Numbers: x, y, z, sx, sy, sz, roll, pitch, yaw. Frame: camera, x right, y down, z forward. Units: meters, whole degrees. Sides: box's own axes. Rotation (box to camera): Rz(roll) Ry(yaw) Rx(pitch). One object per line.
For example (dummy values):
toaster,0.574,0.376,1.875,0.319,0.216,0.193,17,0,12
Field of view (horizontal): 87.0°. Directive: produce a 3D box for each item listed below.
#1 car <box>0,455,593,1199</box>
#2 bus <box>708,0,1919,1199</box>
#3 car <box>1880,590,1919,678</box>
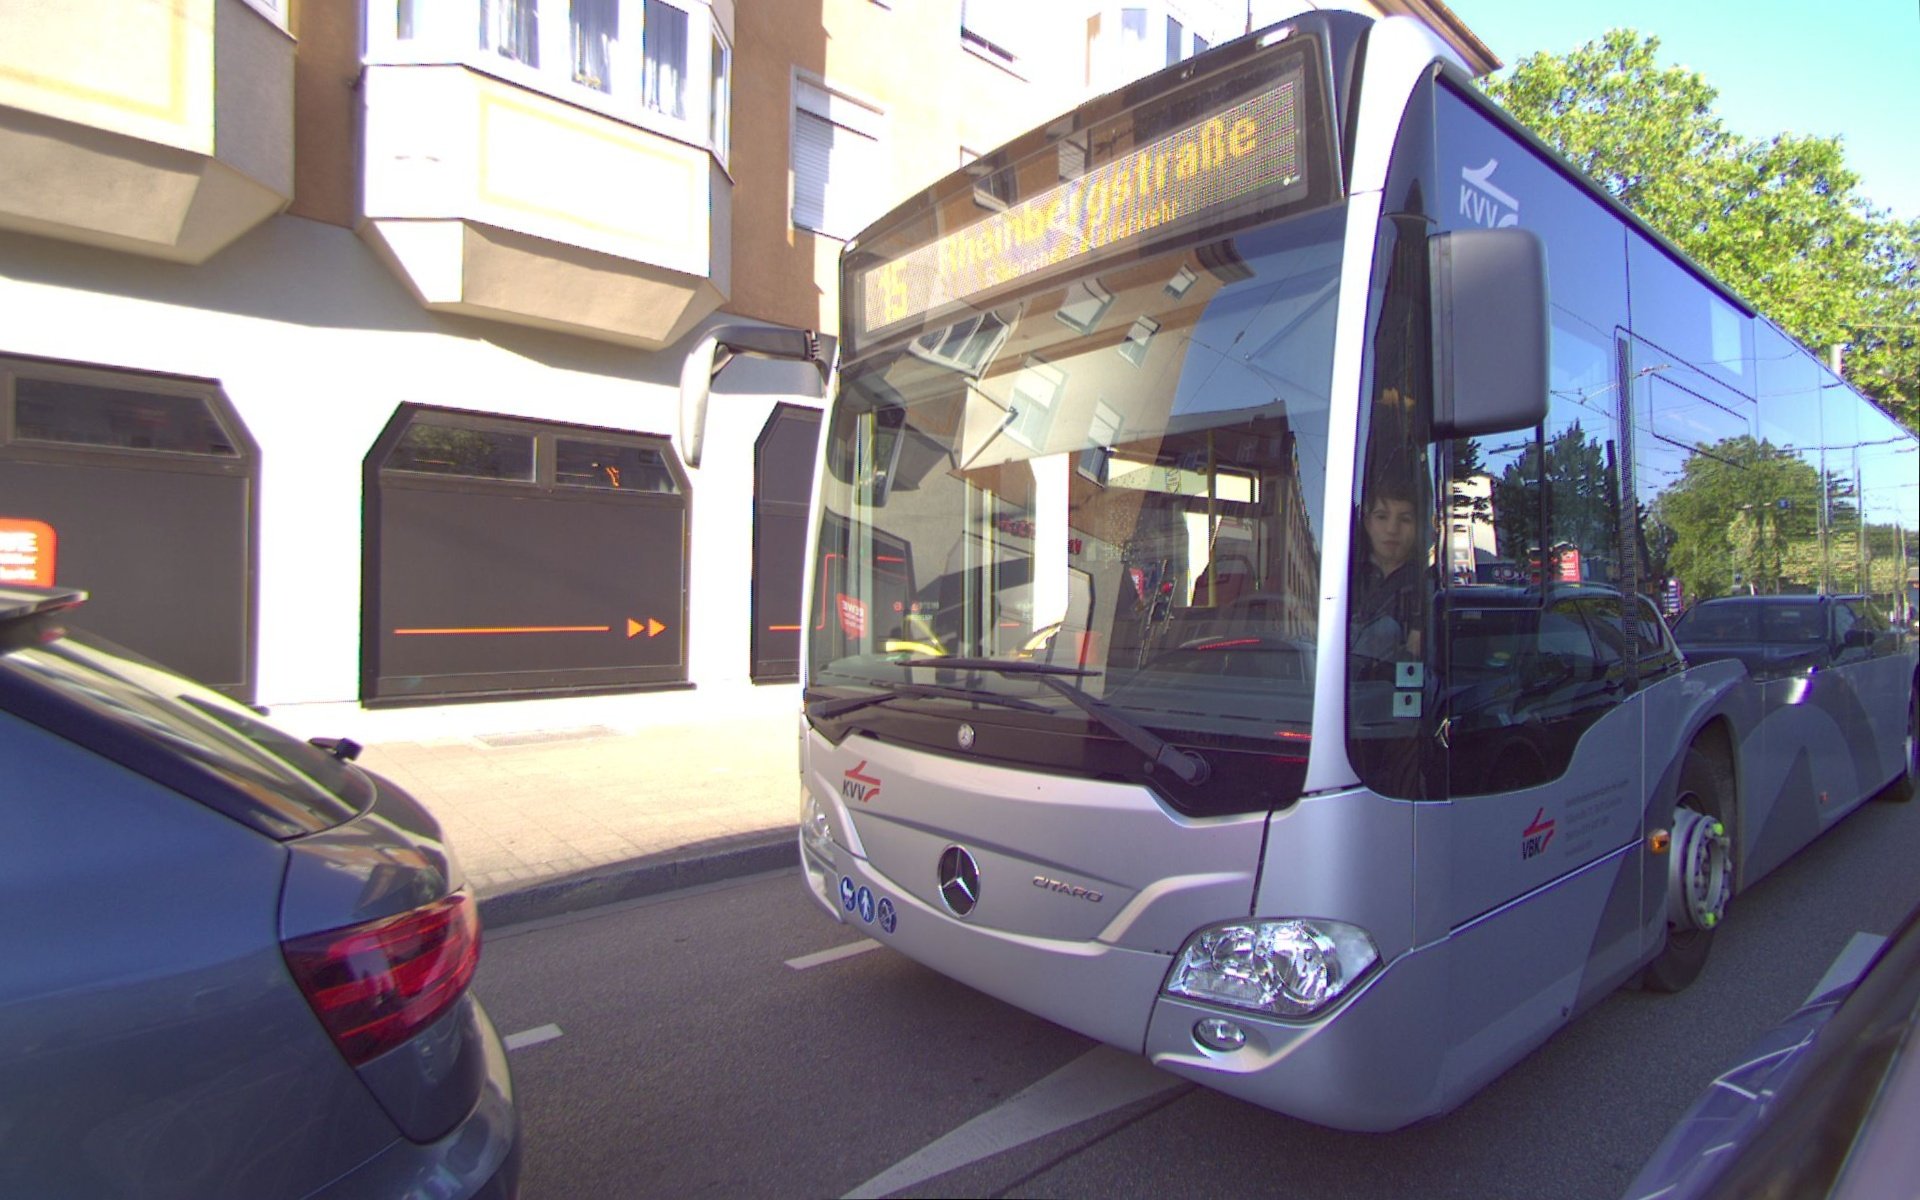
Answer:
car,-2.601,0.654,0.631,4.151,1.572,1.700,0,-1,-41
bus,6.463,-0.198,8.676,17.432,3.189,2.771,0,1,-41
car,19.495,0.618,19.894,3.759,1.628,1.747,-1,0,-43
